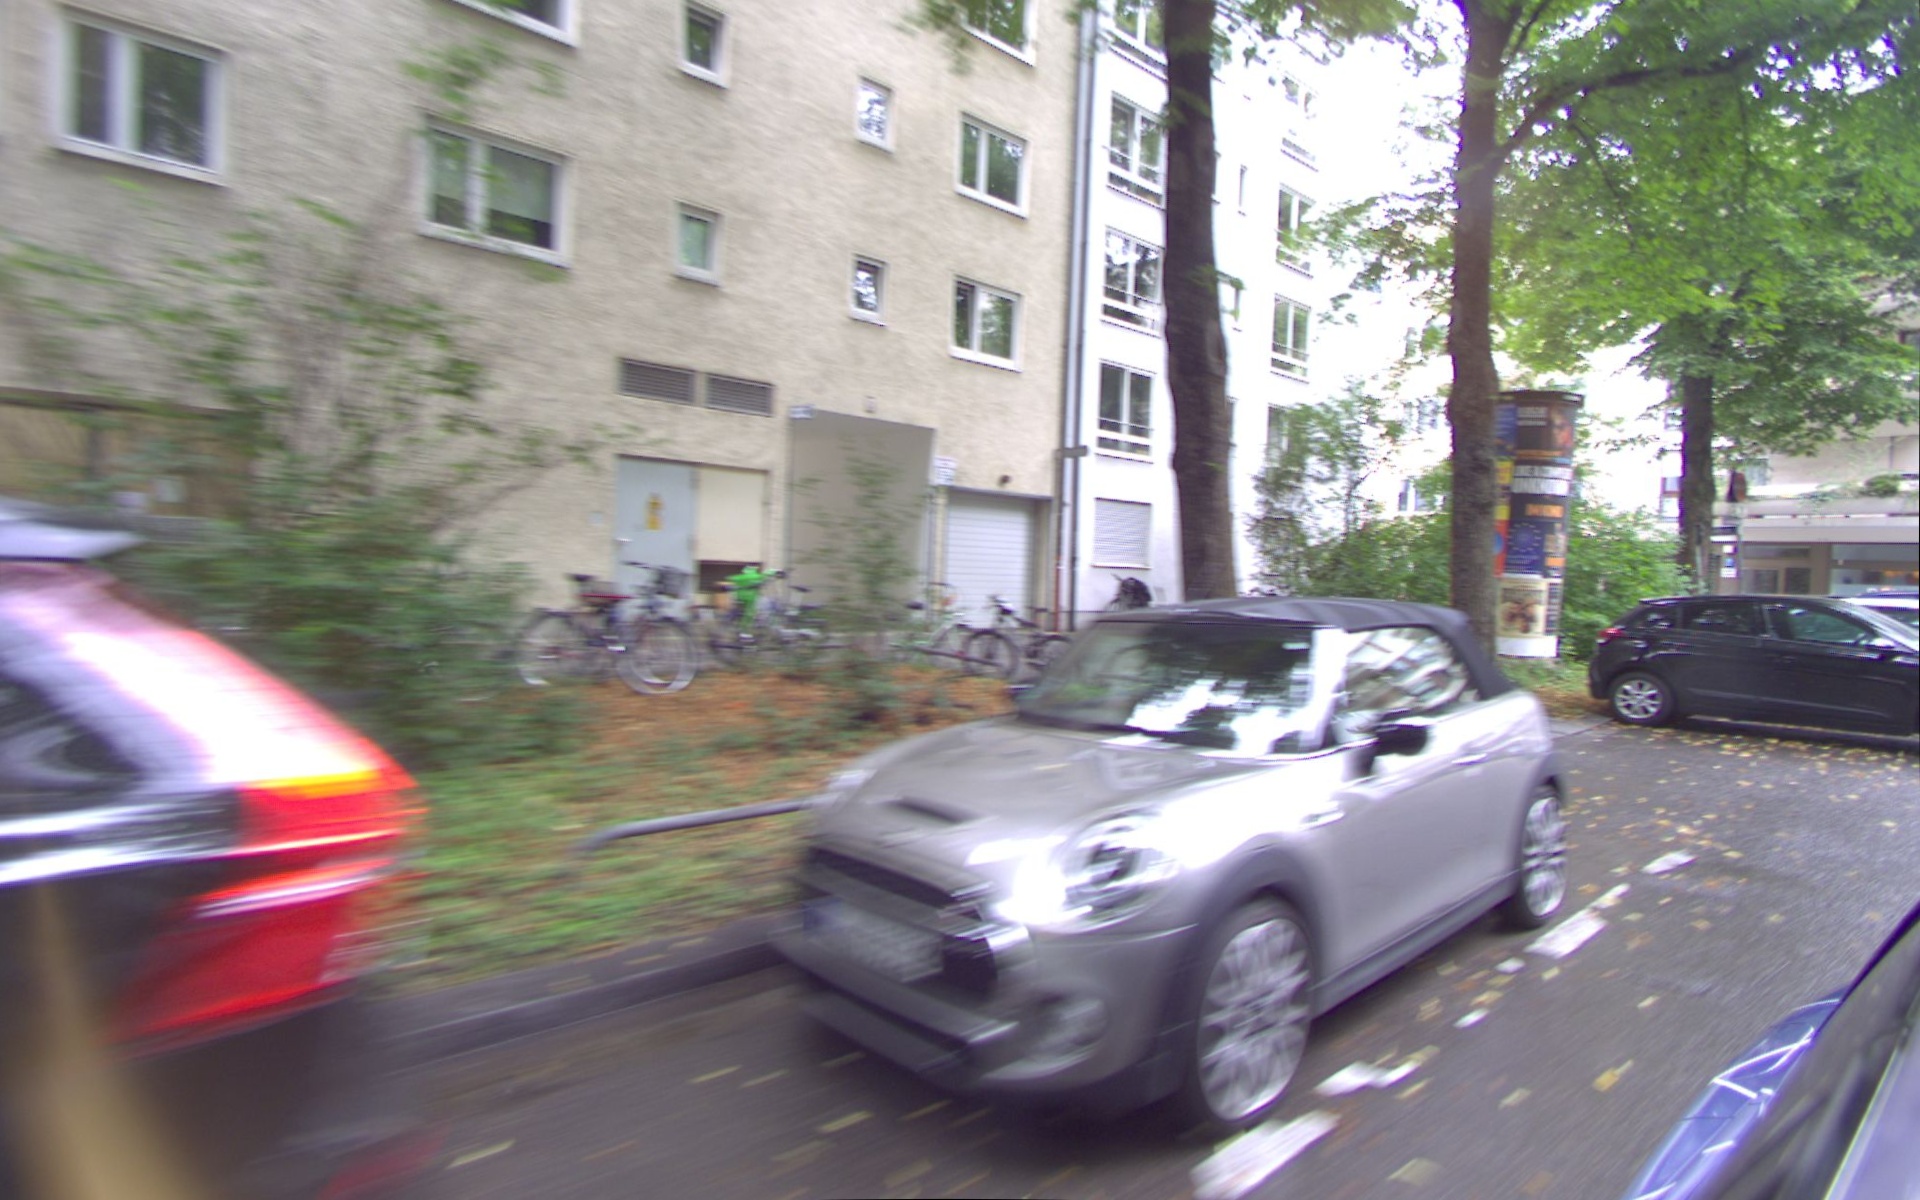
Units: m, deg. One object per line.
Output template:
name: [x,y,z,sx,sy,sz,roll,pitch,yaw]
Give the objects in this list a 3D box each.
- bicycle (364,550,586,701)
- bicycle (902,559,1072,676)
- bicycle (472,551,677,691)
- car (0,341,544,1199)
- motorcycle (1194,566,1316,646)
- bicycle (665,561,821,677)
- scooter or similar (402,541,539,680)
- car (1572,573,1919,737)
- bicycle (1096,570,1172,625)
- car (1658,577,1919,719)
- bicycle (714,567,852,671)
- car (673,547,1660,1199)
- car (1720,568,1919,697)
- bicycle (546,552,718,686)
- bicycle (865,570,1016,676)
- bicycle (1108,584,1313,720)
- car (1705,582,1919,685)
bicycle: [-3.968,0.183,8.282,1.745,1.138,0.444,2,1,14]
bicycle: [0.257,0.149,10.947,1.867,1.138,0.533,3,2,38]
bicycle: [-3.417,0.163,8.964,1.745,1.138,0.444,2,1,14]
car: [-2.826,0.537,0.566,4.446,1.649,1.835,0,2,-41]
motorcycle: [4.871,0.075,16.769,1.801,1.212,0.681,4,3,43]
bicycle: [-2.289,0.174,10.872,0.443,1.138,1.747,3,2,38]
scooter or similar: [-4.703,0.087,9.753,1.117,1.268,0.384,0,2,-42]
car: [8.910,0.496,10.425,1.703,1.411,4.093,0,3,-39]
bicycle: [3.559,-0.068,20.663,1.673,1.035,0.539,-1,6,-42]
car: [10.837,0.532,11.976,1.797,1.465,3.939,-1,3,-44]
bicycle: [-2.058,0.197,11.980,0.443,1.138,1.747,3,2,38]
car: [1.233,0.565,4.344,4.354,1.430,1.902,-1,4,-42]
car: [12.725,0.430,13.361,1.725,1.574,3.980,0,3,-40]
bicycle: [-3.141,0.139,9.590,1.935,1.138,0.440,3,2,34]
bicycle: [-0.262,0.240,12.097,1.867,1.138,0.533,3,2,38]
bicycle: [2.420,0.470,9.921,1.842,1.178,0.764,2,2,13]
car: [14.452,0.510,15.434,1.928,1.394,4.722,0,3,-44]
